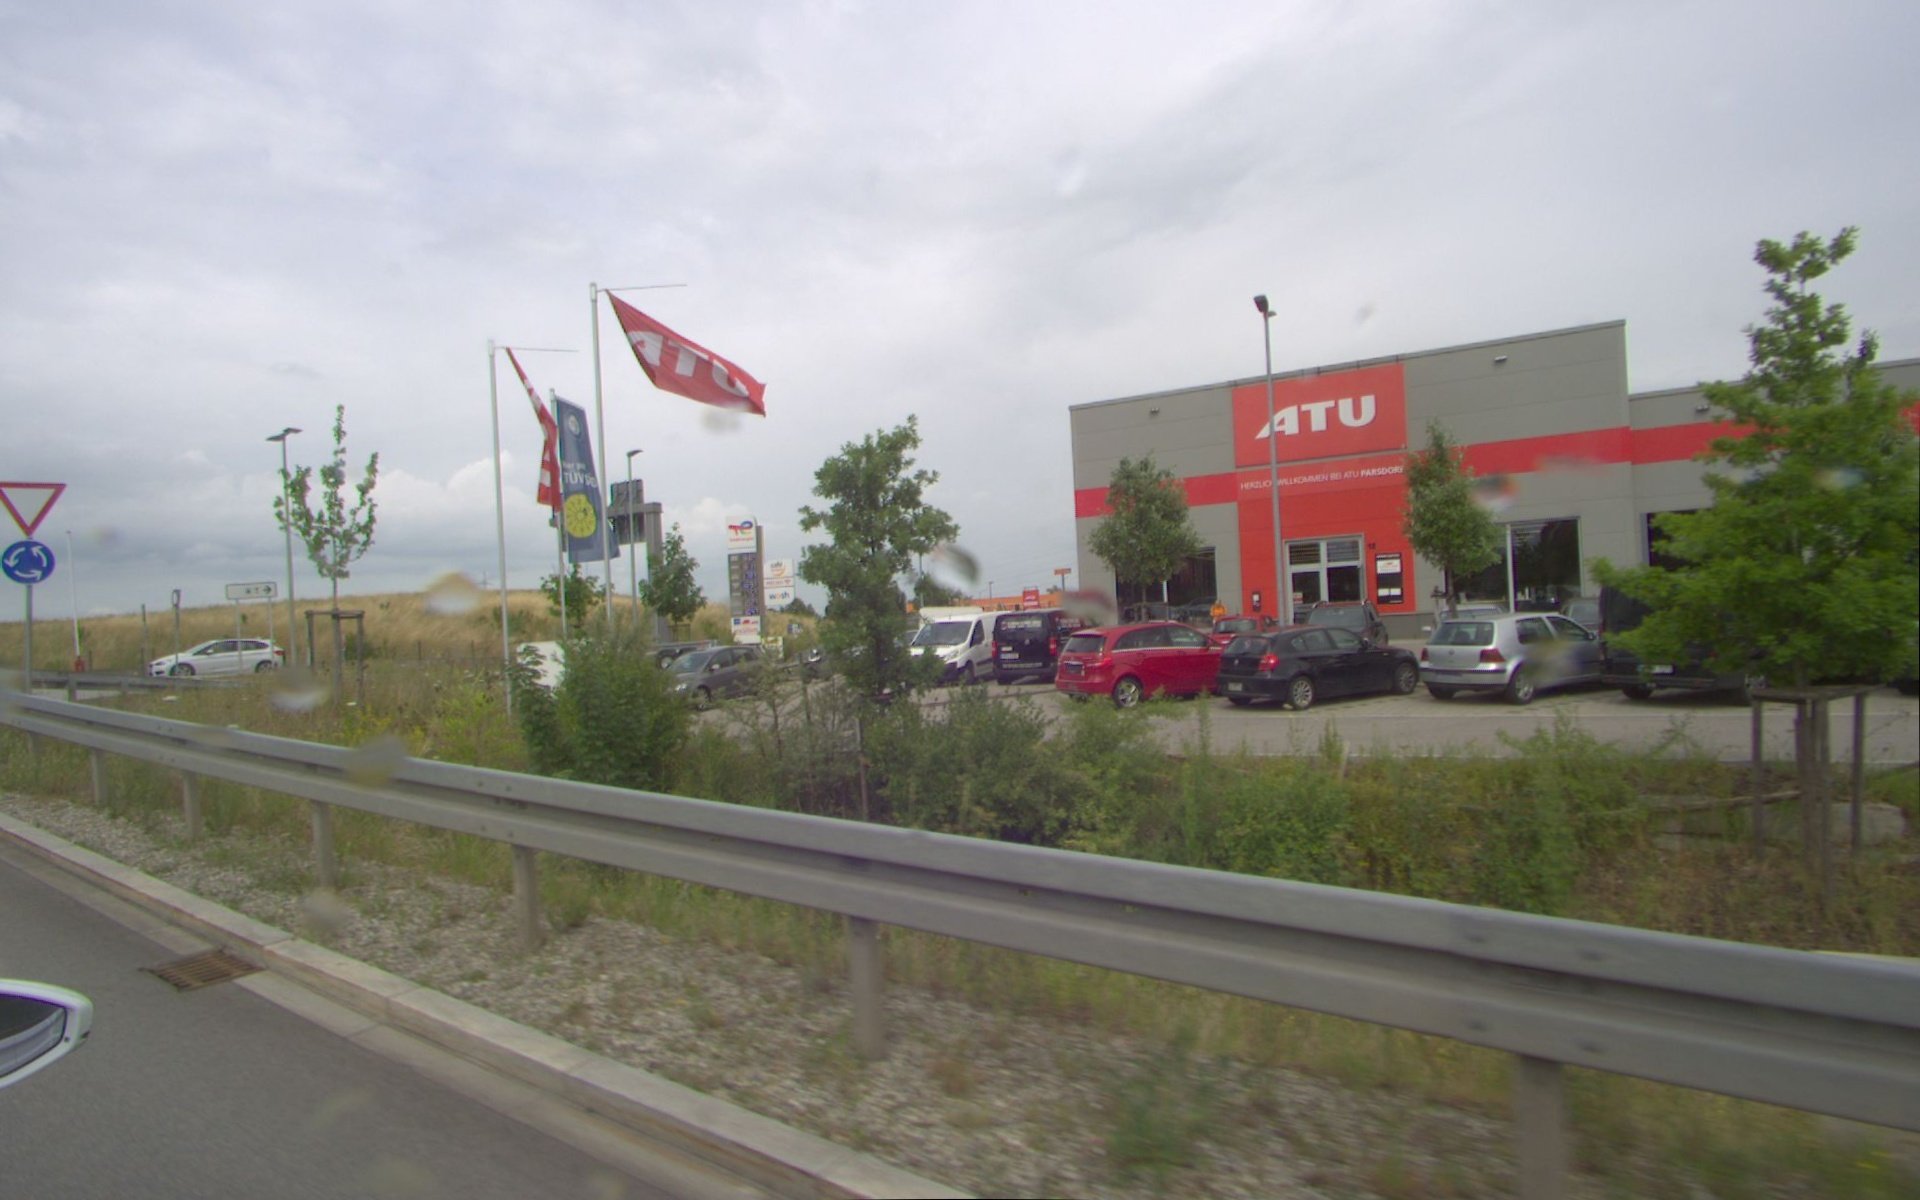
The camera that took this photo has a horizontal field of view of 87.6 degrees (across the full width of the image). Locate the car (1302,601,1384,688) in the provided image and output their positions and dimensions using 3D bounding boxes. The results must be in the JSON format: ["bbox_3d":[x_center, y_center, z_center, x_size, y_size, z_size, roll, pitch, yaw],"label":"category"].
[{"bbox_3d":[9.143,1.058,23.764,1.565,1.859,4.191,-2,-3,24],"label":"car"}]

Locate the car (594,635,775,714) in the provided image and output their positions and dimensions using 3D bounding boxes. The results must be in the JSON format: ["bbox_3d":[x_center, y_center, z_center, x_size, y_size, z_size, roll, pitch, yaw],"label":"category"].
[{"bbox_3d":[-7.047,1.882,26.209,1.934,1.697,4.821,-3,-1,24],"label":"car"}]

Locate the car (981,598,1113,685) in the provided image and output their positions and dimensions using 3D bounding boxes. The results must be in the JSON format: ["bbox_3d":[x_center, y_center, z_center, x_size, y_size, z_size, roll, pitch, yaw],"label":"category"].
[{"bbox_3d":[2.466,1.039,26.950,1.967,1.998,5.062,-3,0,24],"label":"car"}]

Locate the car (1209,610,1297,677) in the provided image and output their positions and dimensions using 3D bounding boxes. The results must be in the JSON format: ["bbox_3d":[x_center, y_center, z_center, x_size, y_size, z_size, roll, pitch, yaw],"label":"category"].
[{"bbox_3d":[7.452,1.084,25.256,1.565,1.518,4.191,-3,-3,24],"label":"car"}]

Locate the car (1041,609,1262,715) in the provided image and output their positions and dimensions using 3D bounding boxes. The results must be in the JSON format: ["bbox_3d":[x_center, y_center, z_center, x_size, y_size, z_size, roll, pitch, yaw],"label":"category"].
[{"bbox_3d":[3.875,1.201,20.191,4.013,1.600,1.765,-6,0,-27],"label":"car"}]

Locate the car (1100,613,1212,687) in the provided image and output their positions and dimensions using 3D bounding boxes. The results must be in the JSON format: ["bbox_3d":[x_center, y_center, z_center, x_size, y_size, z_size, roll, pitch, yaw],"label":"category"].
[{"bbox_3d":[5.278,1.262,26.442,1.884,1.662,4.661,-3,-1,24],"label":"car"}]

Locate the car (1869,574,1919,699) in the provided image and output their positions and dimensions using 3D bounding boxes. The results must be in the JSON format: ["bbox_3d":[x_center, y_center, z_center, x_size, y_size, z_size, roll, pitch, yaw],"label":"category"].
[{"bbox_3d":[15.473,0.413,14.559,4.011,1.734,1.899,-3,0,-25],"label":"car"}]

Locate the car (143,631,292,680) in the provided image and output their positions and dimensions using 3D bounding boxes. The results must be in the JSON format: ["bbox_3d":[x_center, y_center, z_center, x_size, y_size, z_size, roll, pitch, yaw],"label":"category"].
[{"bbox_3d":[-28.898,2.123,39.079,1.764,1.650,4.390,-1,0,41],"label":"car"}]

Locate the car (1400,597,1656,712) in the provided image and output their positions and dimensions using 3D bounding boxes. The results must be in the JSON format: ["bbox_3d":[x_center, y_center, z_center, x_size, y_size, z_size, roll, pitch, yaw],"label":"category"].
[{"bbox_3d":[9.911,0.876,17.488,4.009,1.600,1.766,-4,1,-22],"label":"car"}]

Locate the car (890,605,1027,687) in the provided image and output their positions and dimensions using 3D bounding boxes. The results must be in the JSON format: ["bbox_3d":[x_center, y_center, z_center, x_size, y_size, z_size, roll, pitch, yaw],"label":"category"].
[{"bbox_3d":[0.084,1.309,28.309,1.967,2.072,5.067,-3,-3,24],"label":"car"}]

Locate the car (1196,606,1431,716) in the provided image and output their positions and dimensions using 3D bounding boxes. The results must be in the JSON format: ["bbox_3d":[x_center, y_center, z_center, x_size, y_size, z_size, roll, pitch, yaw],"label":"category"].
[{"bbox_3d":[6.570,1.065,18.573,4.013,1.600,1.764,-4,1,-27],"label":"car"}]

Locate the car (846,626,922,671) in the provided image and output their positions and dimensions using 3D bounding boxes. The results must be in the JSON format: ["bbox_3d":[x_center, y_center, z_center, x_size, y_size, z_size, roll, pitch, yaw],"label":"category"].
[{"bbox_3d":[-3.006,1.919,38.865,1.886,1.593,3.732,0,-4,-22],"label":"car"}]

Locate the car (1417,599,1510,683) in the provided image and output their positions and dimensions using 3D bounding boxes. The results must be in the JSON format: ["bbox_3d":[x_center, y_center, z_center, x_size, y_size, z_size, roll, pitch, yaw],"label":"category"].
[{"bbox_3d":[10.931,0.897,21.931,1.565,1.658,3.690,-3,-3,24],"label":"car"}]

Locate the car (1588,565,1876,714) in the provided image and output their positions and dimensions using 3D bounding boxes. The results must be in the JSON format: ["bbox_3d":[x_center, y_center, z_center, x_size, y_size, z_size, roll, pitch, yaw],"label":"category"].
[{"bbox_3d":[12.158,0.539,15.774,4.010,1.933,1.899,-4,1,-24],"label":"car"}]
